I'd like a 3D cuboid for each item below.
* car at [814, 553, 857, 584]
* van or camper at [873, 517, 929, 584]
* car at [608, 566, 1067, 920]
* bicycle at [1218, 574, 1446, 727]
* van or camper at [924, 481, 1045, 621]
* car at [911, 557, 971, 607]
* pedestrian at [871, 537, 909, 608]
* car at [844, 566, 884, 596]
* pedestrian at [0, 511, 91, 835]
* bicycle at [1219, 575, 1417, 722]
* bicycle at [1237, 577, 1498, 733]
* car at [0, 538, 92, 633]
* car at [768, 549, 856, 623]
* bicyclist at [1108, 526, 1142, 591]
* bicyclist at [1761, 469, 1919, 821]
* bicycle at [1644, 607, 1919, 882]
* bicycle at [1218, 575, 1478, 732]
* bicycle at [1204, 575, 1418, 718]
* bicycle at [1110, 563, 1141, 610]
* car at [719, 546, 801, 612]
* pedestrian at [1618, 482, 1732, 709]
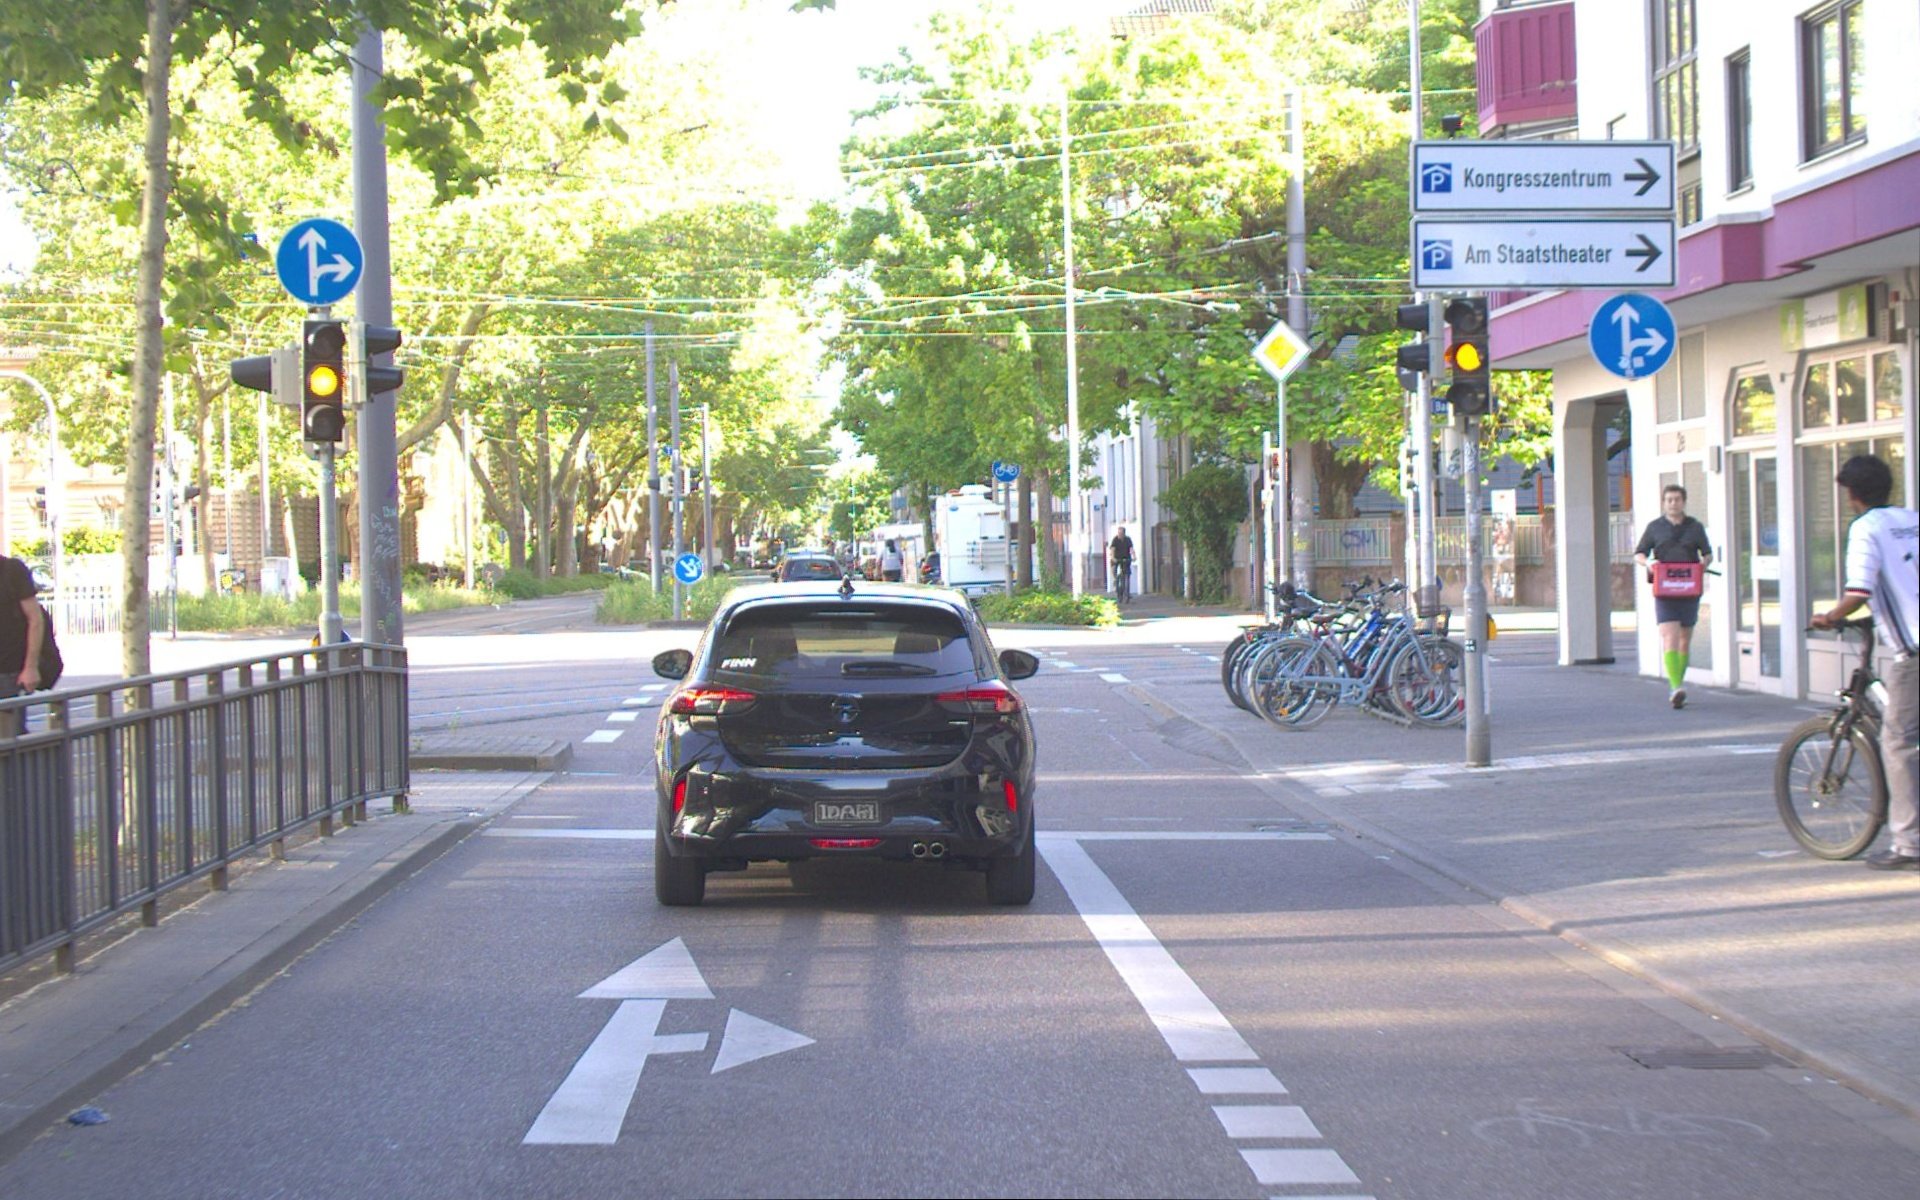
[{"bbox_3d":[-5.865,-1.504,162.786,1.905,1.420,4.215,-1,1,-1],"label":"car"},{"bbox_3d":[-2.684,-2.274,157.621,2.486,2.983,5.434,1,1,-1],"label":"van or camper"},{"bbox_3d":[-0.534,0.580,16.557,1.905,1.420,4.215,-1,1,-1],"label":"car"},{"bbox_3d":[3.086,0.417,28.589,1.831,1.216,0.496,-1,1,2],"label":"bicycle"},{"bbox_3d":[0.538,-1.191,84.224,2.375,3.114,7.552,-4,1,-2],"label":"van or camper"},{"bbox_3d":[-0.629,-0.600,111.012,1.790,1.505,3.874,-3,1,-1],"label":"car"},{"bbox_3d":[-2.030,-0.806,99.934,1.036,2.017,1.212,-1,1,-2],"label":"pedestrian"},{"bbox_3d":[-4.804,-0.966,171.981,1.905,1.420,4.215,-1,1,-1],"label":"car"},{"bbox_3d":[-5.253,0.389,18.835,0.734,1.741,0.712,-1,1,4],"label":"pedestrian"},{"bbox_3d":[3.025,0.405,29.160,1.623,1.195,0.496,-1,0,3],"label":"bicycle"},{"bbox_3d":[3.202,0.426,27.085,1.939,1.166,0.572,-1,0,-4],"label":"bicycle"},{"bbox_3d":[-20.299,-0.328,73.509,1.994,1.941,4.423,-1,1,5],"label":"car"},{"bbox_3d":[-3.308,-0.344,77.399,1.832,1.617,4.285,0,1,-1],"label":"car"},{"bbox_3d":[3.864,-0.975,80.567,0.749,1.504,0.702,-1,1,1],"label":"bicyclist"},{"bbox_3d":[4.408,0.182,15.544,1.057,1.534,1.079,-2,1,-38],"label":"bicyclist"},{"bbox_3d":[4.425,0.635,15.532,0.960,1.179,2.597,-2,1,-38],"label":"bicycle"},{"bbox_3d":[3.122,0.420,27.705,1.976,1.195,0.591,-2,1,-5],"label":"bicycle"},{"bbox_3d":[3.039,0.404,29.907,1.802,1.195,0.545,-1,-1,3],"label":"bicycle"},{"bbox_3d":[3.875,-0.314,80.564,0.639,1.066,1.951,-2,1,1],"label":"bicycle"},{"bbox_3d":[-5.106,-0.551,88.144,1.993,1.622,4.471,1,1,-2],"label":"car"},{"bbox_3d":[5.947,-0.042,28.627,0.722,1.851,0.801,-1,1,-2],"label":"pedestrian"}]
